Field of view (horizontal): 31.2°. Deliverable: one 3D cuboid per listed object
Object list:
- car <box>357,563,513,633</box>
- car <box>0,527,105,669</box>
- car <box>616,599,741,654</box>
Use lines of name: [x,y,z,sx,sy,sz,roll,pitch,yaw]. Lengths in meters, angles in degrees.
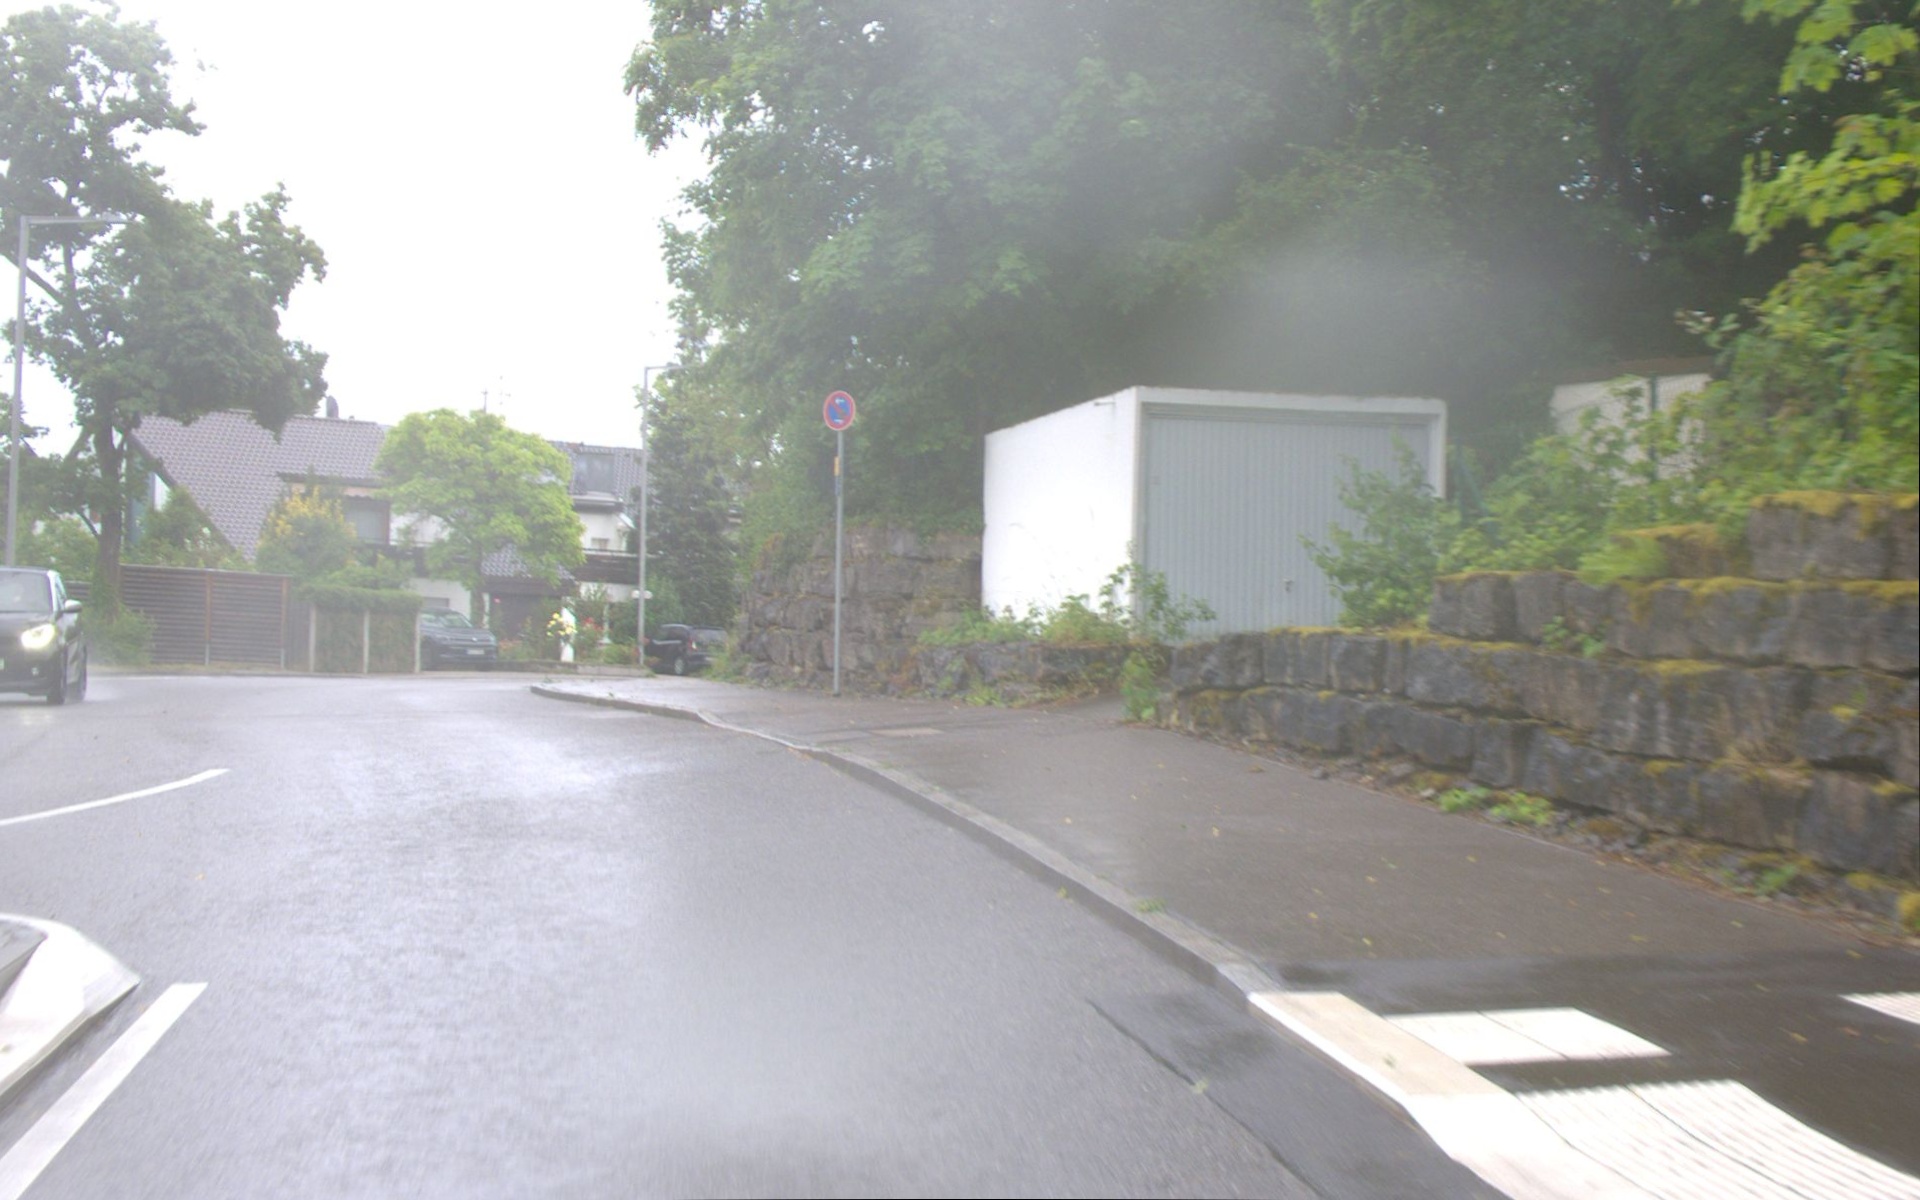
car: [-13.602,-0.061,88.978,2.008,1.626,3.998,3,0,-44]
car: [-10.909,-0.033,39.464,1.831,1.515,4.628,-1,1,-11]
car: [-7.989,0.733,97.403,1.934,1.384,4.000,3,-1,-30]
